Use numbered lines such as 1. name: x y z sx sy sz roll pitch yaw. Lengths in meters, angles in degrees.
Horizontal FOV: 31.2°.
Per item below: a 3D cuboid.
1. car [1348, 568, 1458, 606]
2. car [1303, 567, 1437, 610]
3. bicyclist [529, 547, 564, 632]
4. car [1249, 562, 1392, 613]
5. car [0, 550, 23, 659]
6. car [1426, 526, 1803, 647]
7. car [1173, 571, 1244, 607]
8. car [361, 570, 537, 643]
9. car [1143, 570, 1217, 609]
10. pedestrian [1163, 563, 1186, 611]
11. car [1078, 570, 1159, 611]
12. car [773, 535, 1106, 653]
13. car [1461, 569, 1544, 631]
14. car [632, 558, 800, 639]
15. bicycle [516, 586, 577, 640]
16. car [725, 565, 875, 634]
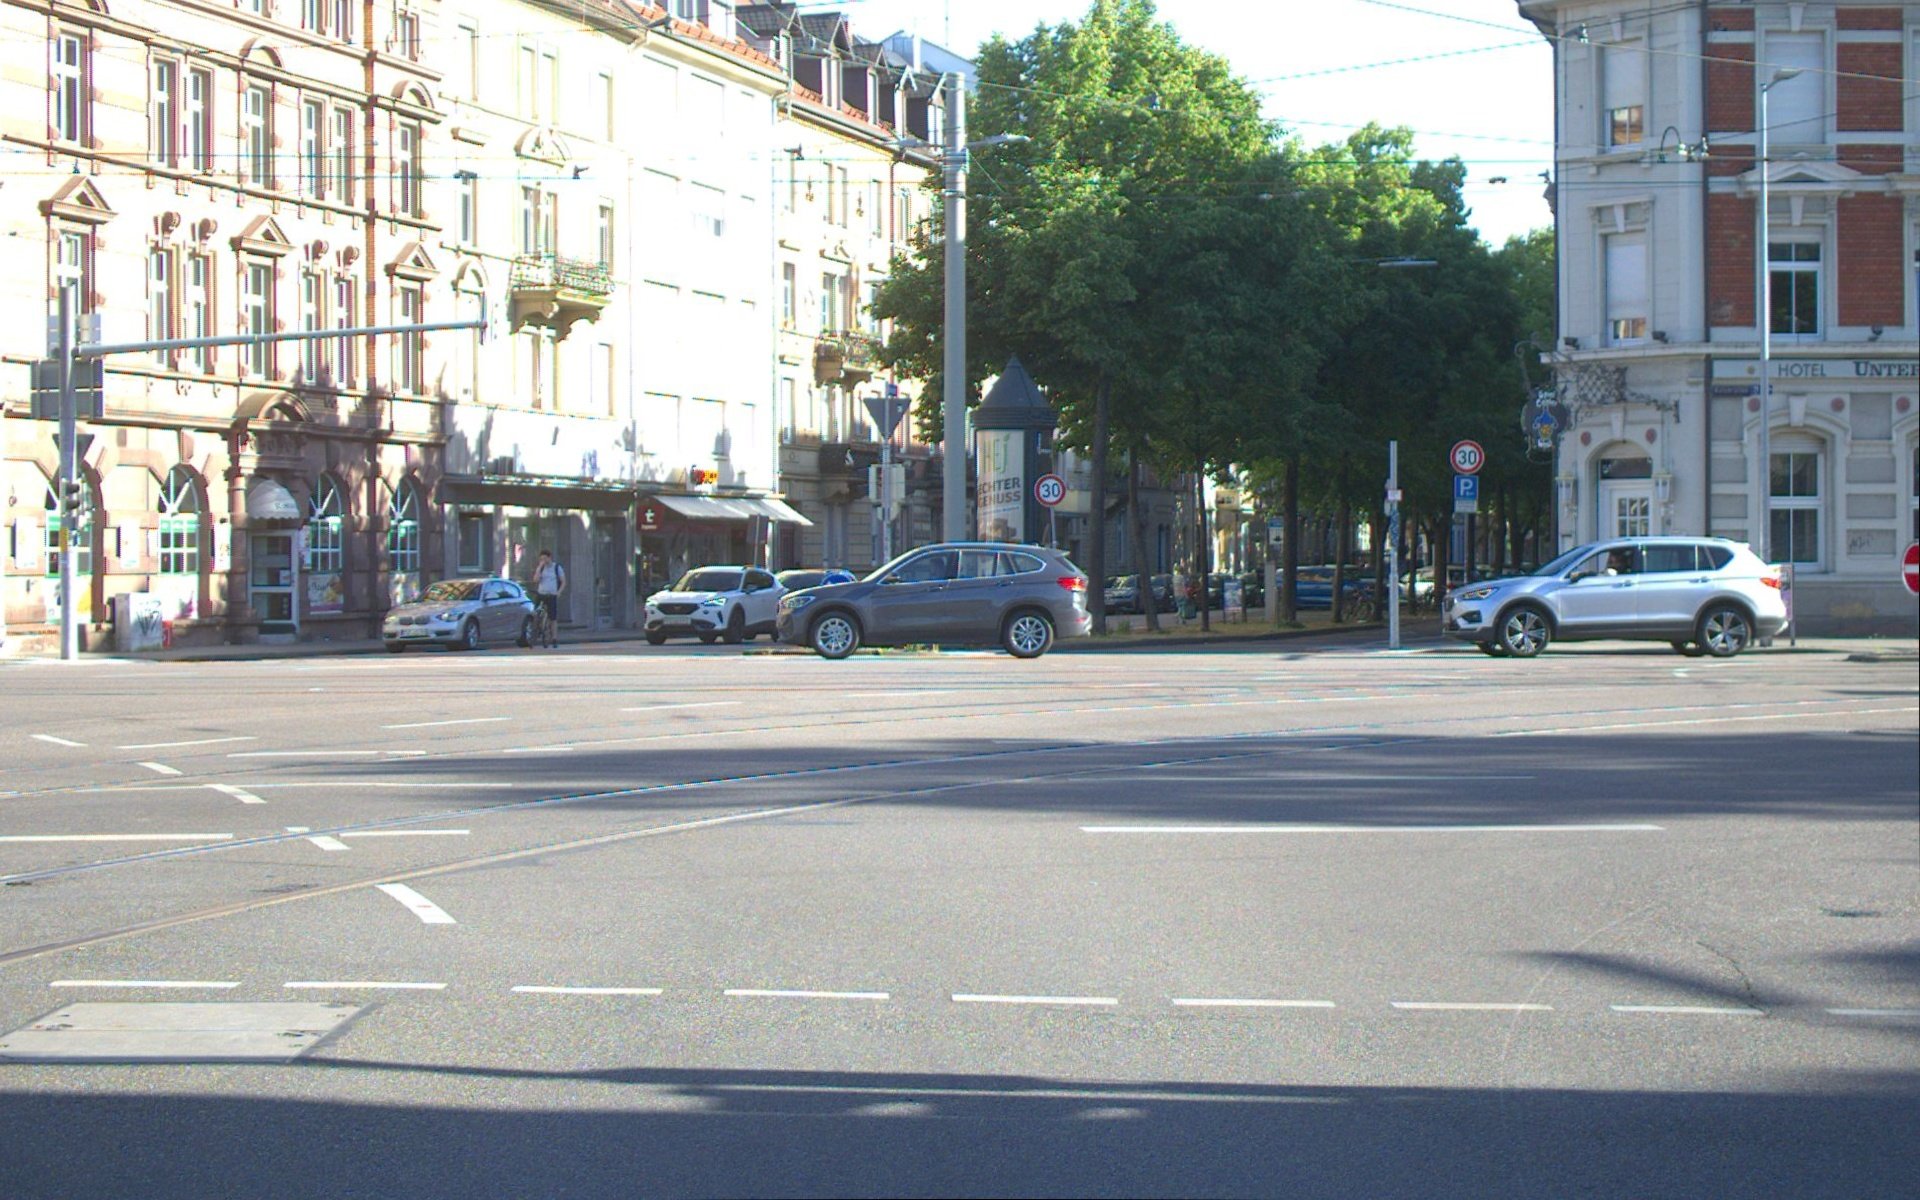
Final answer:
1. car: 14.369 -0.427 111.469 3.435 1.235 1.576 0 1 11
2. car: 12.583 -0.346 105.396 3.989 1.284 1.694 0 1 11
3. bicyclist: -7.837 -0.201 65.198 0.489 1.596 0.666 0 1 10
4. car: 10.452 -0.360 99.688 3.989 1.450 1.681 0 1 11
5. car: -14.547 0.066 45.060 4.027 1.418 1.886 0 1 0
6. car: 9.105 -0.202 48.110 4.854 1.648 2.000 0 1 -2
7. car: 9.889 -0.447 136.607 1.995 1.400 4.166 0 1 16
8. car: -9.924 0.104 67.048 1.995 1.357 3.816 0 1 16
9. car: 8.412 -0.416 131.410 1.995 1.400 4.166 0 1 16
10. pedestrian: 6.228 -0.387 99.699 0.547 1.380 0.625 0 1 16
11. car: 5.659 -0.338 122.583 1.995 1.400 4.166 0 1 16
12. car: -0.318 -0.105 48.270 4.579 1.610 2.000 0 1 -2
13. car: 13.051 -0.023 82.532 1.756 1.415 3.998 0 1 12
14. car: -4.749 -0.051 67.475 1.995 1.511 4.166 0 1 16
15. bicycle: -7.845 0.233 65.305 0.655 0.997 1.664 1 1 12
16. car: -3.395 -0.039 73.648 1.995 1.400 4.166 0 1 16
